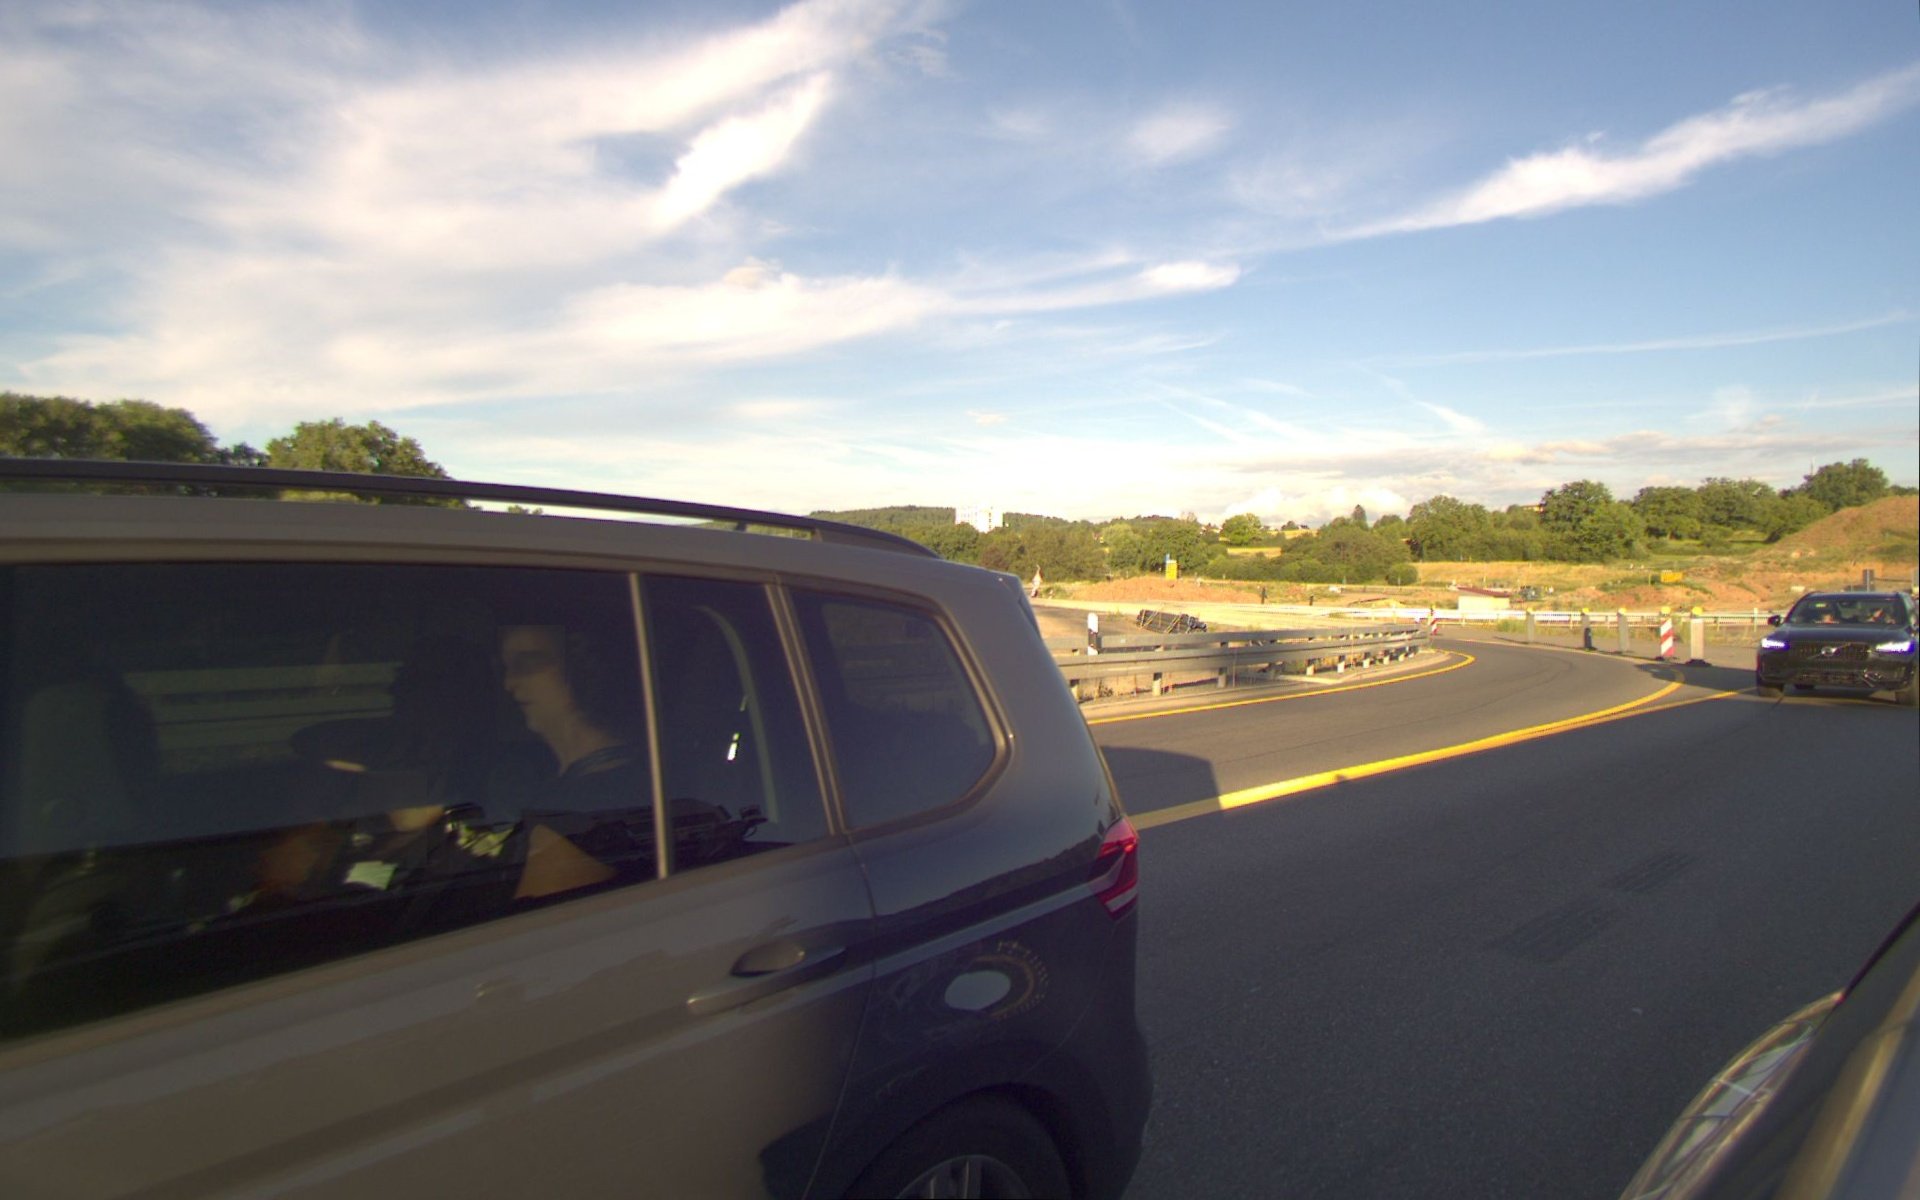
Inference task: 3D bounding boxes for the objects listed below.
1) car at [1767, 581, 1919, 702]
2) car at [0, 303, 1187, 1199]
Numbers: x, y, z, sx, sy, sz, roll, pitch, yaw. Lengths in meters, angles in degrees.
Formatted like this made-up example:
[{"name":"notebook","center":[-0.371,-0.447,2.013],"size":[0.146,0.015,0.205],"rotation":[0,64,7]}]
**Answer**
[{"name":"car","center":[14.973,0.576,16.679],"size":[4.804,1.734,1.900],"rotation":[0,0,-42]},{"name":"car","center":[-1.811,0.582,1.209],"size":[4.449,1.636,1.815],"rotation":[-1,0,-42]}]
